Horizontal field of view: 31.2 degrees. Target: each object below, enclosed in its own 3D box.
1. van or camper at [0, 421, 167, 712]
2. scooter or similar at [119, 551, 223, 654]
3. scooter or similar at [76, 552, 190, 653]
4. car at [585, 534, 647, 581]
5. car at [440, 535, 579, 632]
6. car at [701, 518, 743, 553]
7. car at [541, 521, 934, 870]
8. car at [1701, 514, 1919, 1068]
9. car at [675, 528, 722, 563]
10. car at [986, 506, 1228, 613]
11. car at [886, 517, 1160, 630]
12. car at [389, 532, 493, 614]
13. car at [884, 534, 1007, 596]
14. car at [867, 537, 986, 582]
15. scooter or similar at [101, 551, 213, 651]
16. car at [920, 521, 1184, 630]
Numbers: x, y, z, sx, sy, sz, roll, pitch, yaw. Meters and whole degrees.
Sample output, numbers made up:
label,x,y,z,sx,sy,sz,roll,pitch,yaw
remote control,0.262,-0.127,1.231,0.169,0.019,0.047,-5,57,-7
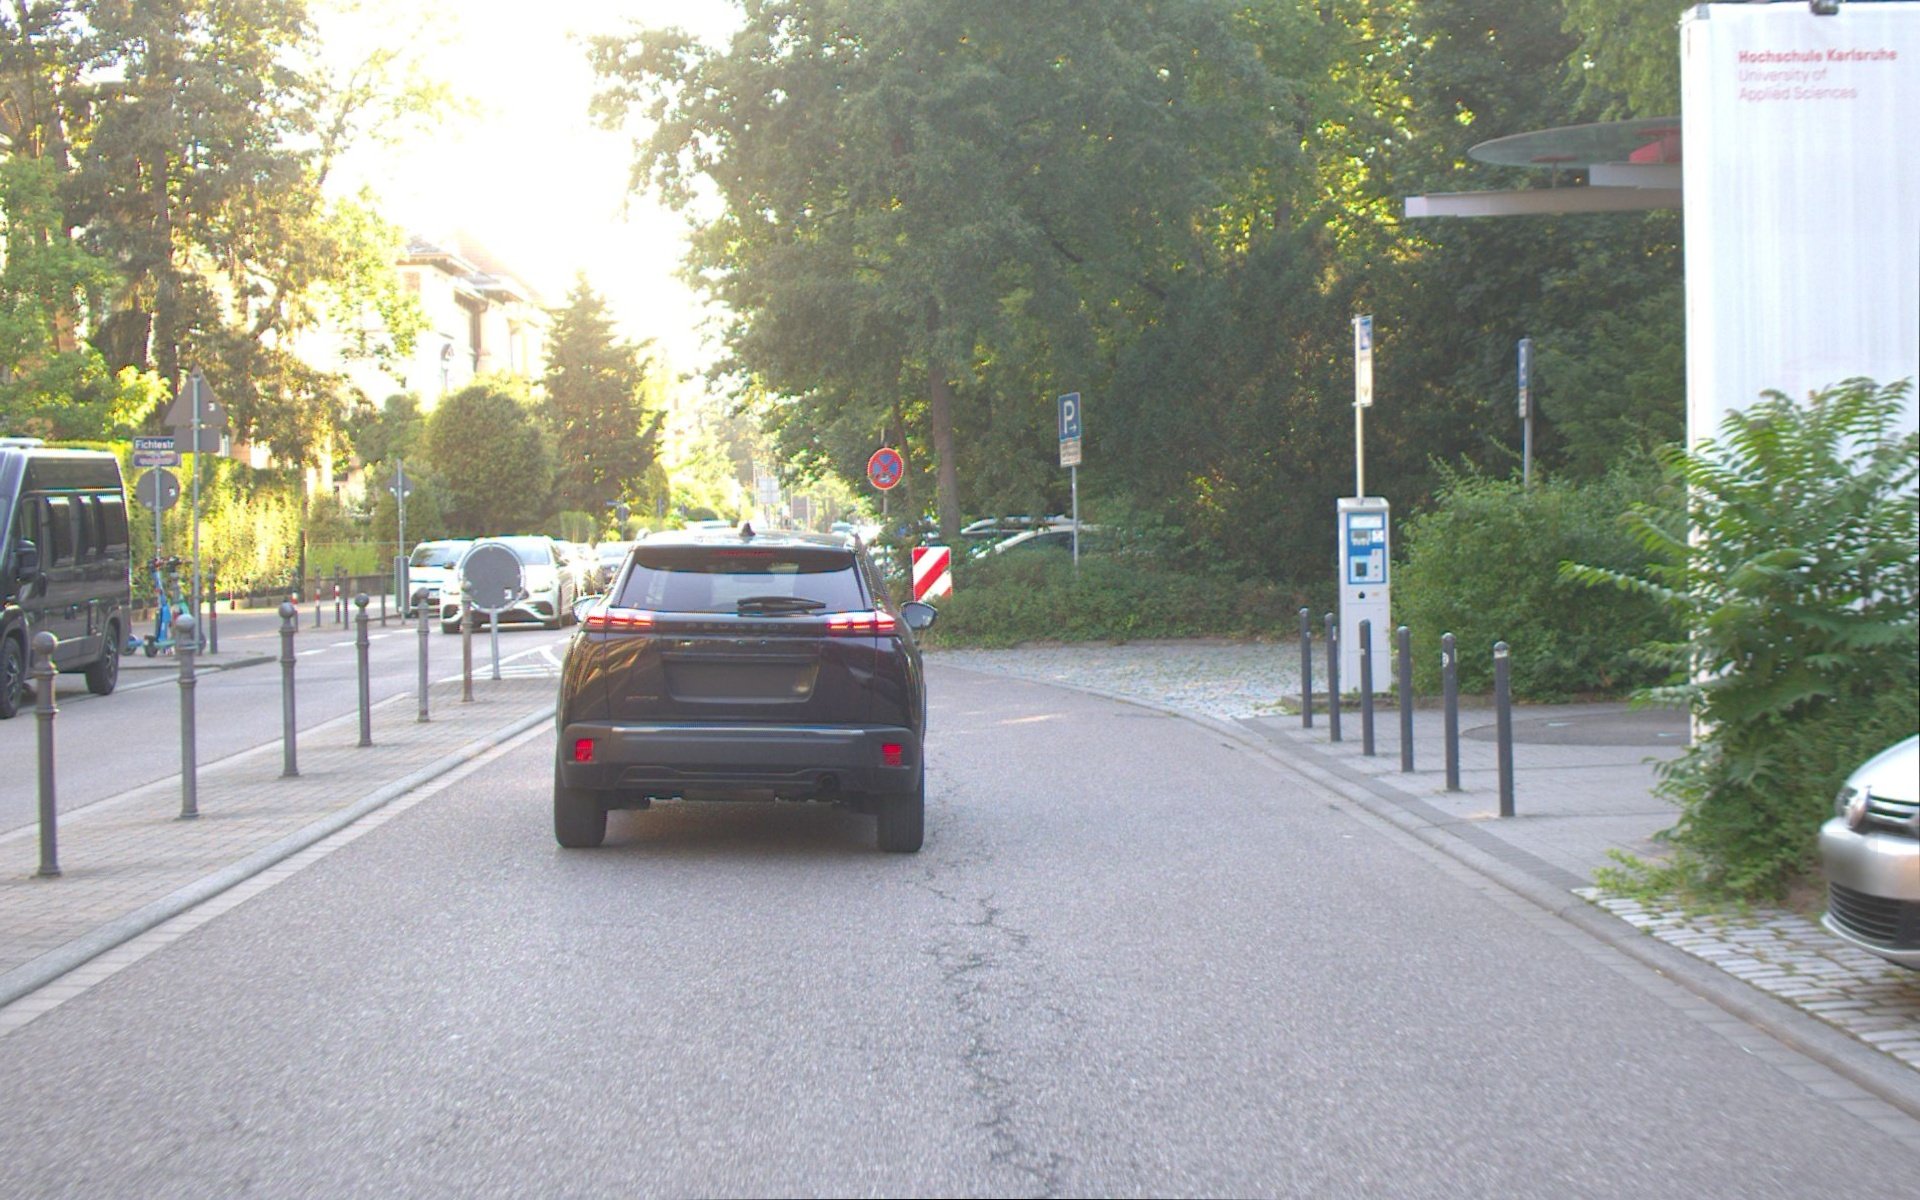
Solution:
label,x,y,z,sx,sy,sz,roll,pitch,yaw
van or camper,-9.565,-0.357,33.466,2.229,2.535,7.080,1,1,-2
scooter or similar,-10.001,0.024,43.616,0.431,1.270,1.341,0,1,34
scooter or similar,-10.570,0.024,43.976,1.340,1.270,0.432,-1,1,-36
car,-11.143,-1.402,111.448,1.752,1.409,3.765,-3,1,-3
car,-7.209,-0.290,55.396,1.741,1.453,4.624,-1,1,-2
car,-12.407,-3.356,179.330,1.993,1.762,4.000,0,1,-2
car,-1.049,0.386,17.644,1.771,1.563,4.109,0,1,-1
car,5.038,0.413,10.772,4.926,1.548,1.916,-3,1,-2
car,-11.936,-2.500,157.087,1.899,1.568,4.000,0,1,-2
car,2.713,-0.754,64.170,4.306,1.798,2.036,-2,1,-2
car,0.909,-0.411,51.327,3.987,1.549,1.726,-1,2,-1
car,-10.333,-0.553,68.633,1.613,1.510,3.712,-3,1,-3
car,-0.499,-1.191,116.318,3.986,2.082,1.758,-1,1,-6
car,-1.170,-1.416,119.029,3.986,1.520,1.758,-1,1,-6
scooter or similar,-10.423,0.010,44.666,1.340,1.270,0.432,-1,1,-36
car,1.400,-0.391,53.478,3.987,1.549,1.726,-1,2,-1
